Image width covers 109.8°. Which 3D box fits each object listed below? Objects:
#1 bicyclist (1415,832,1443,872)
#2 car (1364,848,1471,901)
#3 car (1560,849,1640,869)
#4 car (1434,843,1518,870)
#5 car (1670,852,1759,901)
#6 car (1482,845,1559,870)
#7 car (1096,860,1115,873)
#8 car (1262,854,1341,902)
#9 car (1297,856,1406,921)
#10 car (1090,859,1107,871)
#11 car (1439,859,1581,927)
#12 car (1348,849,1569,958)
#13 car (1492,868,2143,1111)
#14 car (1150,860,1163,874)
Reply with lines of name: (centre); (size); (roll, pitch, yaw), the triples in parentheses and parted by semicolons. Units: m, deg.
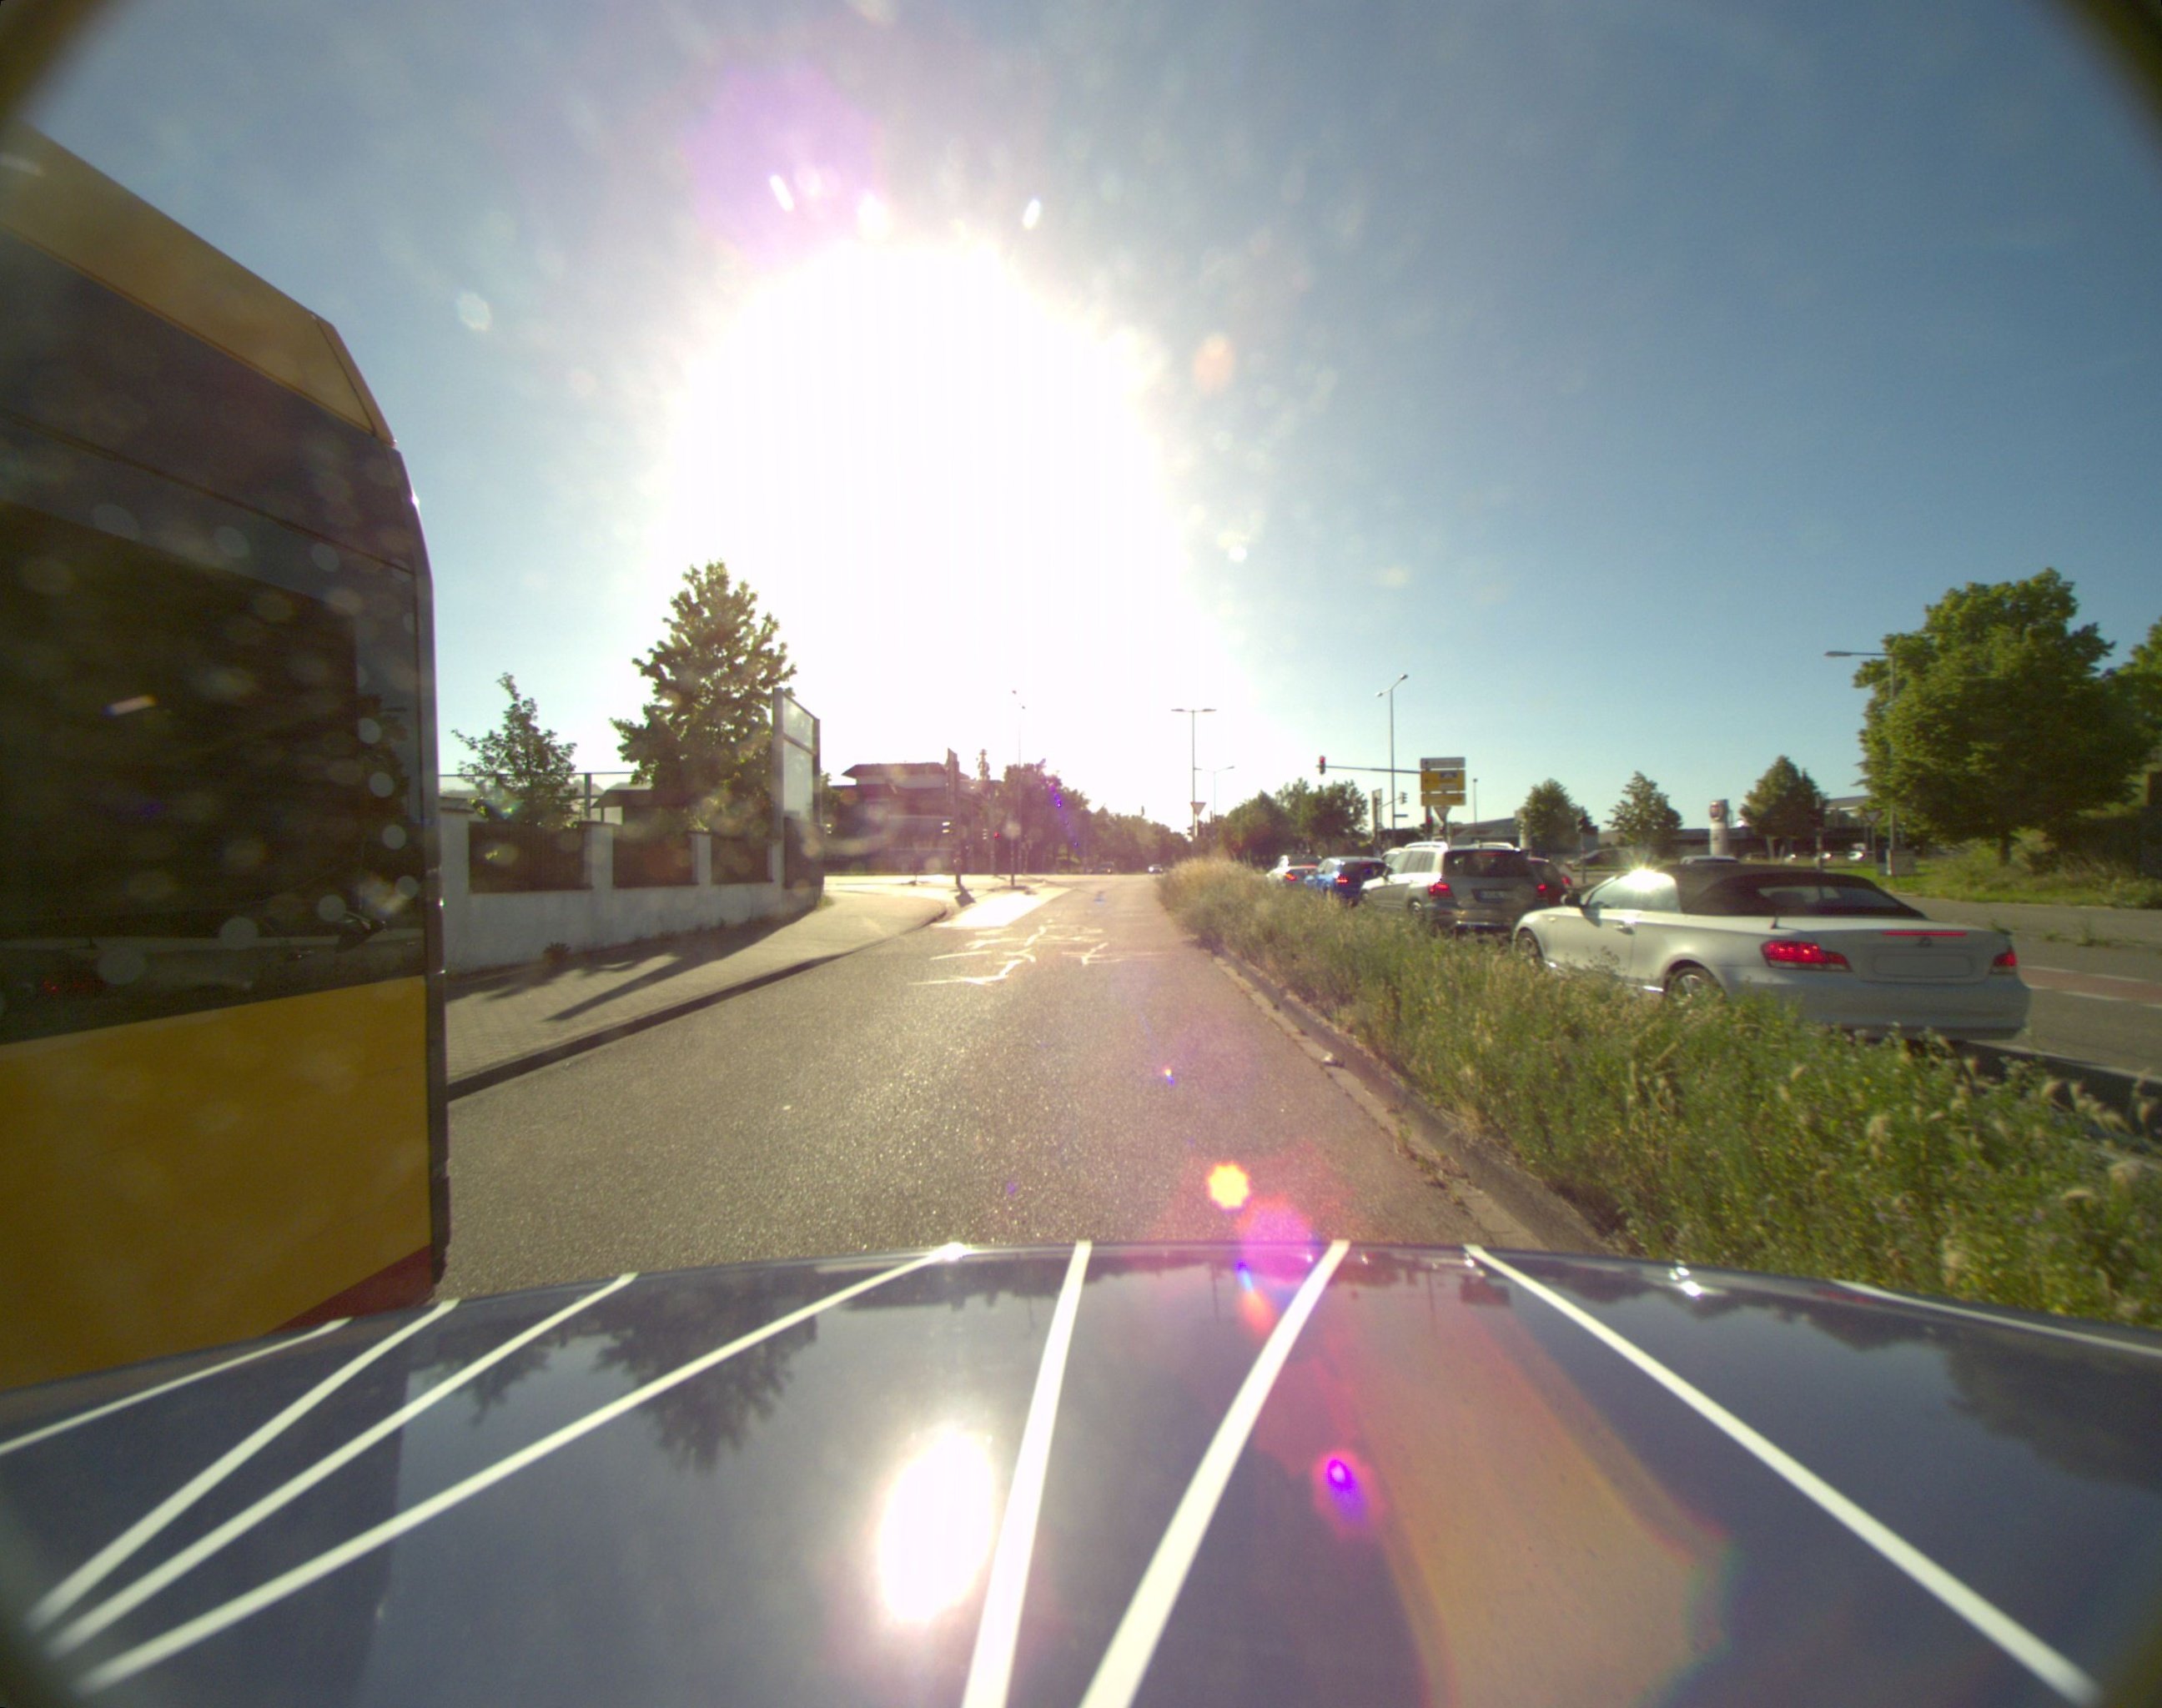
bicyclist: (15.194, -0.081, 33.226); (0.746, 1.692, 1.242); (0, 0, 5)
car: (11.192, 0.630, 25.633); (1.997, 1.634, 4.532); (0, 0, 6)
car: (34.716, 0.371, 50.927); (4.036, 1.267, 1.894); (0, -2, 2)
car: (30.054, 0.208, 57.907); (5.271, 2.001, 2.049); (0, -2, 2)
car: (20.165, 0.652, 24.345); (1.710, 1.422, 4.008); (1, 1, 33)
car: (29.437, 0.249, 50.946); (4.036, 1.634, 1.894); (0, -2, 2)
car: (2.857, 1.473, 88.573); (1.775, 1.477, 4.218); (1, -1, 8)
car: (7.458, 0.766, 26.130); (1.797, 1.497, 4.532); (0, 0, 6)
car: (6.774, 0.804, 19.431); (1.750, 1.474, 3.889); (0, 0, 6)
car: (2.397, 1.467, 102.291); (1.775, 1.477, 4.218); (1, -1, 8)
car: (10.284, 0.870, 18.537); (1.649, 1.474, 3.715); (0, 0, 6)
car: (6.375, 0.740, 13.514); (1.998, 1.606, 4.532); (0, 0, 5)
car: (5.846, 0.898, 7.036); (1.998, 1.442, 4.401); (0, 0, 5)
car: (10.906, 1.828, 110.204); (1.729, 2.002, 4.001); (0, 0, 4)
